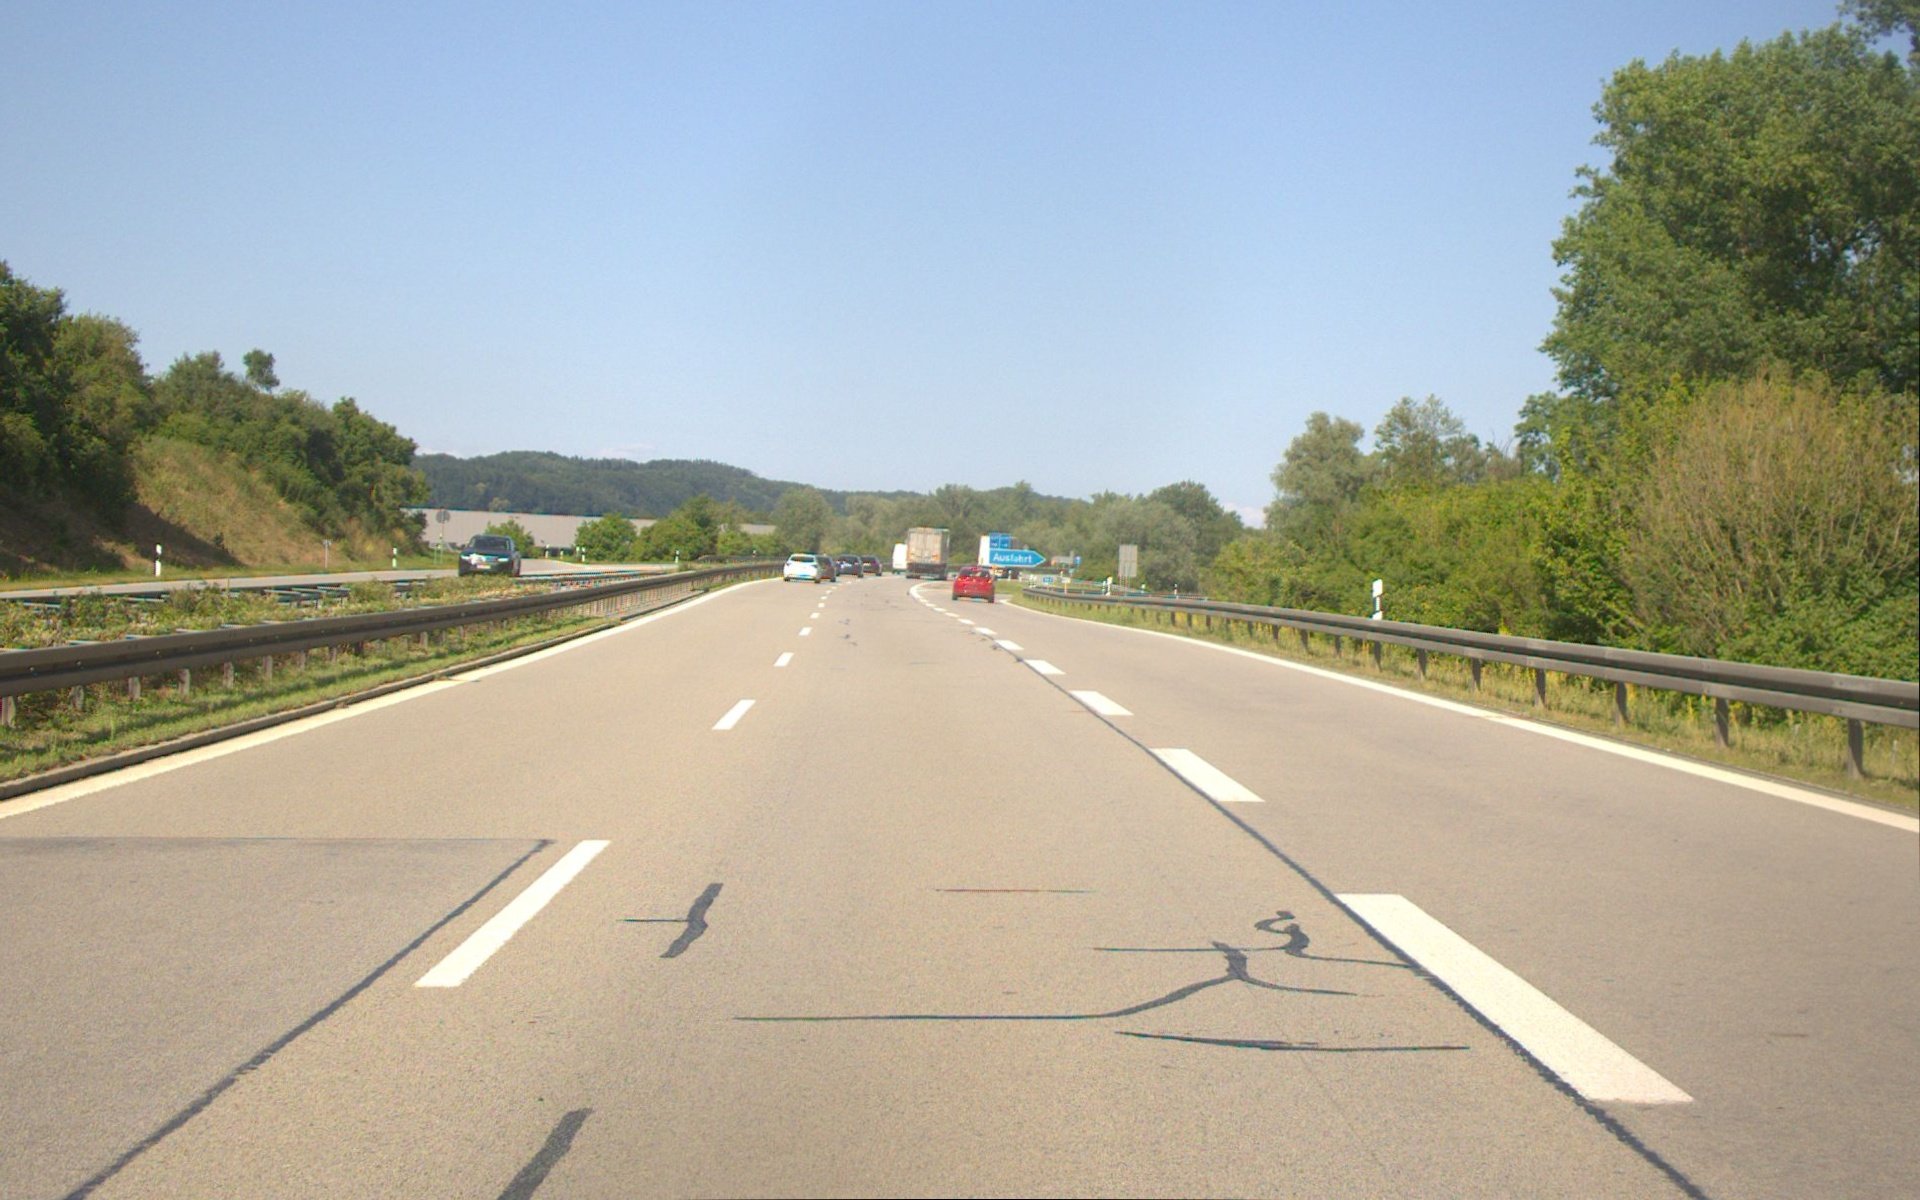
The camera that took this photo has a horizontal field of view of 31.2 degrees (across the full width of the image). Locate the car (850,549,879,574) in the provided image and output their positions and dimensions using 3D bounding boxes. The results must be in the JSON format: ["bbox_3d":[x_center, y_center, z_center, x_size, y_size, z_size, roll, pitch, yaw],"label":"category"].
[{"bbox_3d":[-7.215,-2.913,260.174,1.993,1.744,4.000,3,1,1],"label":"car"}]

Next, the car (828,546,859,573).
[{"bbox_3d":[-7.809,-2.723,230.304,1.993,1.744,4.000,3,1,-2],"label":"car"}]

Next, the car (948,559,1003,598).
[{"bbox_3d":[0.654,-0.883,144.626,1.784,1.426,3.999,5,0,6],"label":"car"}]

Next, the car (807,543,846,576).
[{"bbox_3d":[-7.314,-2.239,188.687,1.993,1.744,4.000,3,1,-2],"label":"car"}]

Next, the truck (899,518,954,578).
[{"bbox_3d":[-2.483,-3.991,261.924,3.837,4.382,11.471,1,1,1],"label":"truck"}]

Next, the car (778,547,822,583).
[{"bbox_3d":[-7.967,-1.748,171.611,2.061,1.619,4.000,1,-2,-2],"label":"car"}]

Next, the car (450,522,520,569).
[{"bbox_3d":[-17.678,-2.023,128.198,1.993,1.639,5.084,1,0,-2],"label":"car"}]
